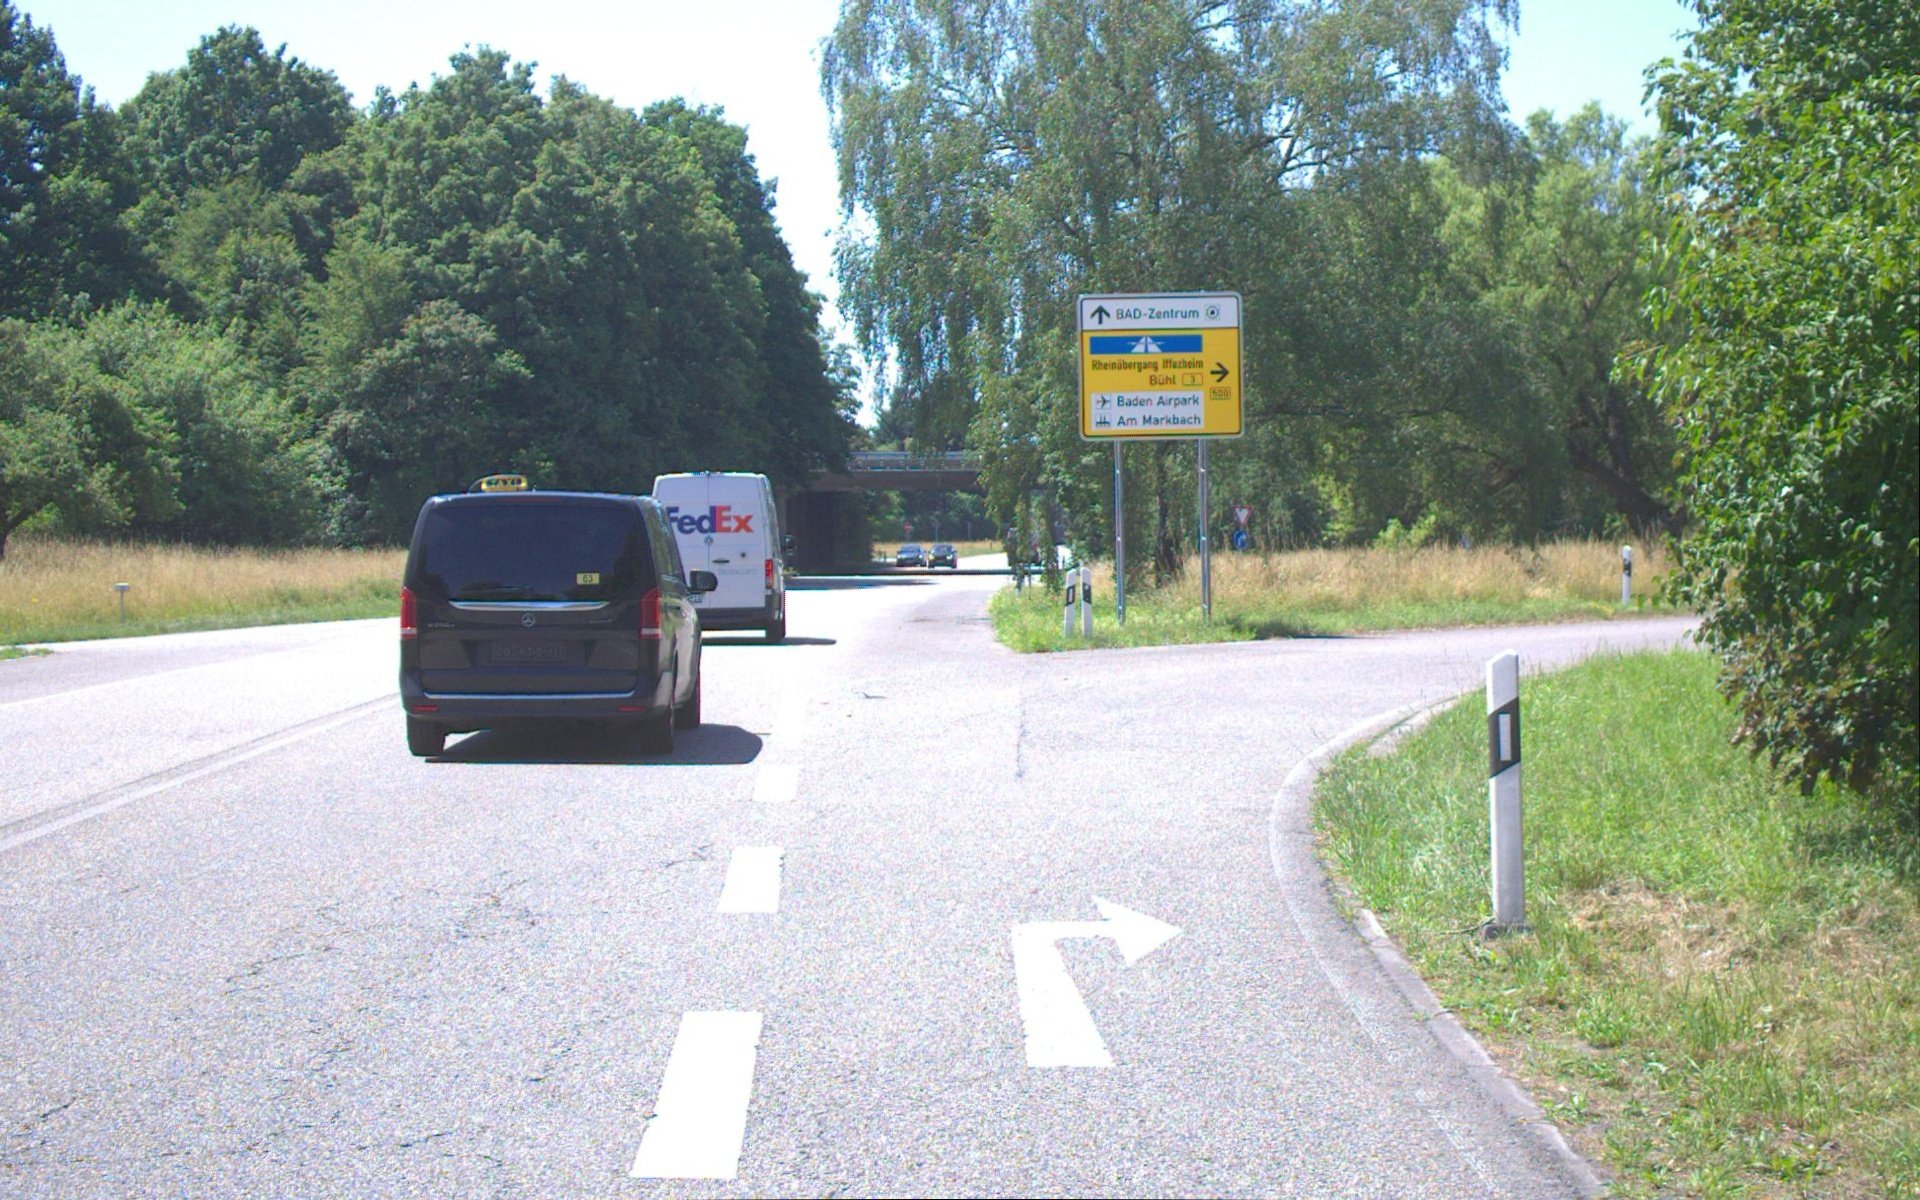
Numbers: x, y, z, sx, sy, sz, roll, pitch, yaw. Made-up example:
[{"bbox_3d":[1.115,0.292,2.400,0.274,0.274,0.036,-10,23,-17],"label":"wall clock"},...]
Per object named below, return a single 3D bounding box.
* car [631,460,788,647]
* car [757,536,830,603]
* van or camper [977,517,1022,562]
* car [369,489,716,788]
[{"bbox_3d":[-3.793,-0.718,52.737,2.078,2.693,4.667,2,1,-1],"label":"car"},{"bbox_3d":[-5.261,-0.990,108.833,1.993,2.007,4.000,2,1,1],"label":"car"},{"bbox_3d":[2.644,-4.088,232.470,2.631,2.919,5.207,2,1,-3],"label":"van or camper"},{"bbox_3d":[-2.961,0.219,25.438,1.993,1.946,5.005,2,1,-1],"label":"car"}]
